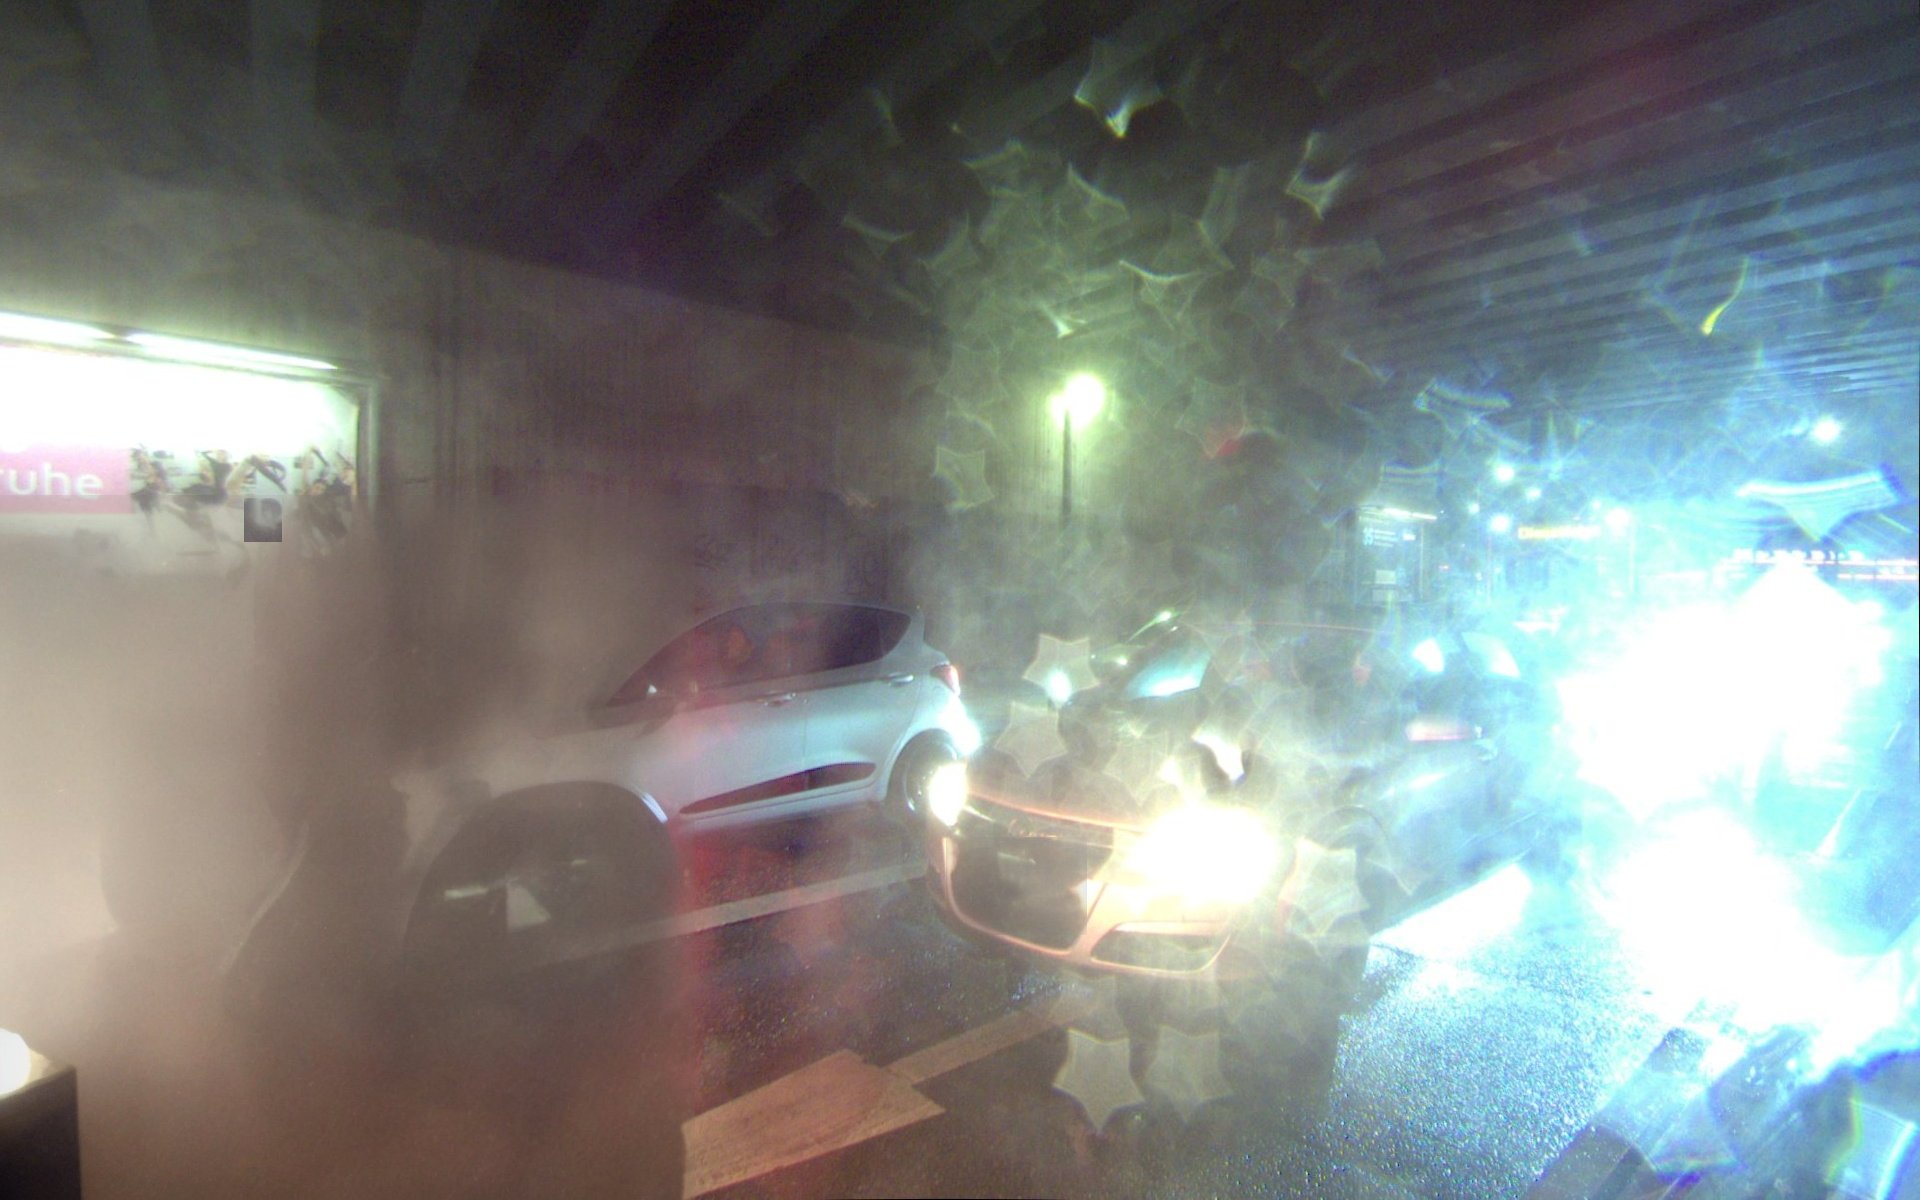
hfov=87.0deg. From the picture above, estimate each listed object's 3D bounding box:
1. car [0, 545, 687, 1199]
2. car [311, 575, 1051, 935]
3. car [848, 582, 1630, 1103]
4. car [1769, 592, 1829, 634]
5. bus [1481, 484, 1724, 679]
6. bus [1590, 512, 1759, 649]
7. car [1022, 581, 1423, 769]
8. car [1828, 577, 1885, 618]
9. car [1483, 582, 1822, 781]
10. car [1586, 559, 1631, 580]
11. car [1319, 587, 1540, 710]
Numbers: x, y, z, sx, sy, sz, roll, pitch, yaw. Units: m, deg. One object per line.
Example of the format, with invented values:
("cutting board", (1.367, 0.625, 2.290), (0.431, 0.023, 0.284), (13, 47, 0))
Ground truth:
("car", (-2.661, 0.653, 1.011), (4.308, 1.464, 1.723), (-1, 3, -42))
("car", (-1.454, 0.610, 6.265), (4.092, 1.464, 1.722), (-1, 3, -43))
("car", (1.624, 0.656, 4.888), (4.091, 1.464, 1.723), (-1, 1, -42))
("car", (33.731, 0.471, 40.655), (1.693, 1.481, 3.915), (3, 3, 41))
("bus", (14.057, -0.403, 21.661), (2.733, 3.318, 9.551), (1, 1, 43))
("bus", (20.492, -0.554, 28.702), (2.733, 3.278, 9.551), (1, 1, 43))
("car", (2.908, 0.580, 10.513), (4.705, 1.505, 1.723), (-1, 2, -42))
("car", (40.069, -0.161, 45.296), (1.717, 1.725, 3.917), (3, 3, 39))
("car", (6.750, 0.623, 9.689), (4.091, 1.506, 1.722), (-1, -2, -42))
("car", (46.343, -2.153, 72.382), (1.685, 1.407, 3.979), (0, 1, 17))
("car", (7.115, 0.604, 15.135), (1.721, 1.505, 4.096), (3, 3, 44))
